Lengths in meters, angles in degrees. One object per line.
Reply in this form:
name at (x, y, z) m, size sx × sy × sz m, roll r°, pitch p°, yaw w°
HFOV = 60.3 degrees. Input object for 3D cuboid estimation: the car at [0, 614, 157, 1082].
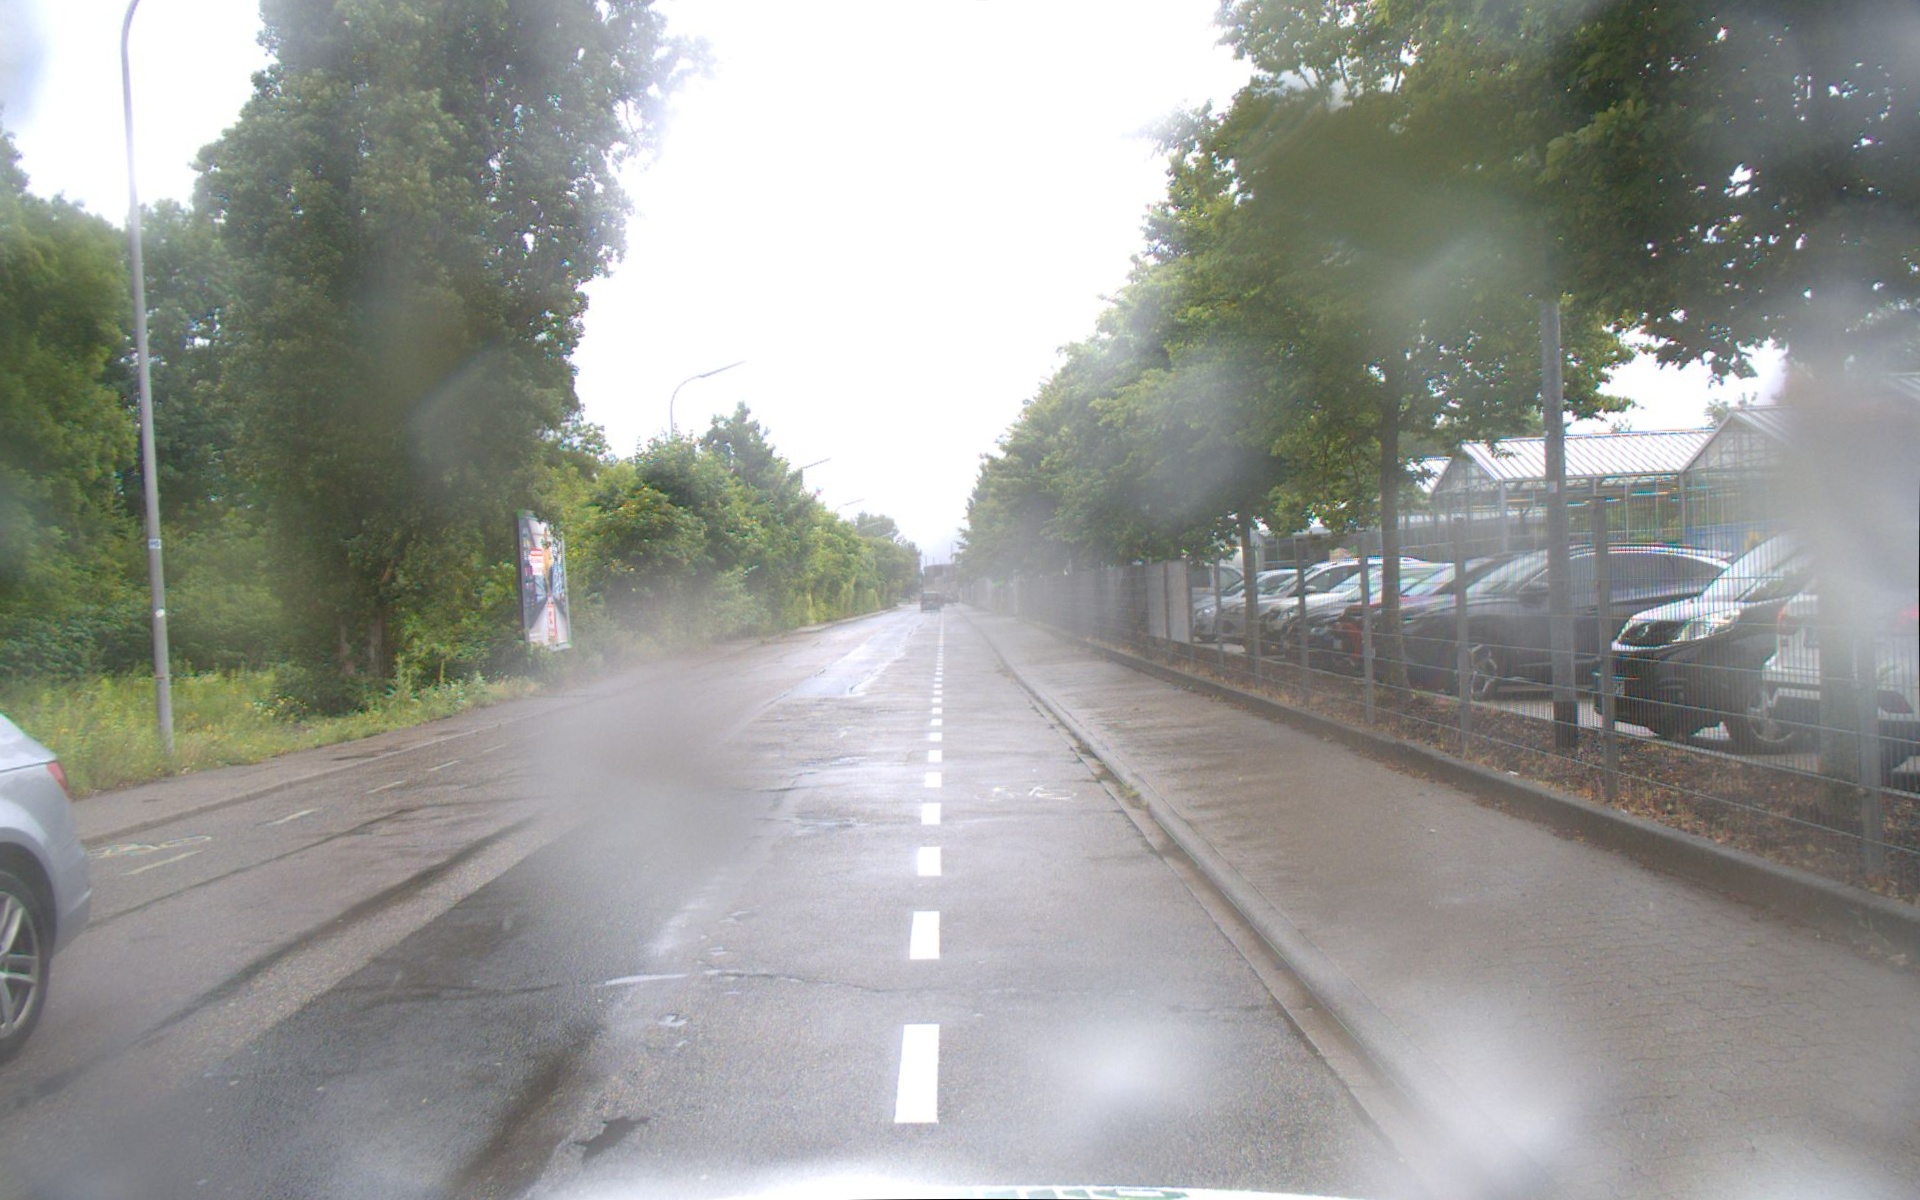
car at (-3.966, 0.891, 4.068) m, size 1.698 × 1.475 × 4.381 m, roll -6°, pitch 0°, yaw 0°

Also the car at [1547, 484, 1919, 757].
car at (6.947, 0.067, 12.771) m, size 4.130 × 1.825 × 1.821 m, roll -3°, pitch 1°, yaw -8°

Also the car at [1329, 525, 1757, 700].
car at (6.486, 0.113, 18.631) m, size 4.130 × 1.646 × 1.821 m, roll -3°, pitch 1°, yaw -8°

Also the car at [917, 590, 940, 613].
car at (-2.873, 0.173, 151.079) m, size 1.953 × 1.943 × 4.199 m, roll -4°, pitch 0°, yaw -1°

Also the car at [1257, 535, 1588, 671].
car at (6.556, 0.028, 23.646) m, size 4.130 × 1.646 × 1.821 m, roll -3°, pitch 1°, yaw -8°

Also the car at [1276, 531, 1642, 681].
car at (6.424, 0.059, 21.503) m, size 4.130 × 1.646 × 1.821 m, roll -3°, pitch 1°, yaw -8°

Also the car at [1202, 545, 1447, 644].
car at (6.898, -0.115, 31.508) m, size 4.130 × 1.616 × 1.821 m, roll -3°, pitch 1°, yaw -8°

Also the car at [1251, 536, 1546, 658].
car at (6.961, -0.060, 26.449) m, size 4.130 × 1.646 × 1.821 m, roll -3°, pitch 1°, yaw -8°

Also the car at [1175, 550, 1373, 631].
car at (7.200, -0.224, 38.181) m, size 4.125 × 1.616 × 1.823 m, roll -3°, pitch 1°, yaw -4°

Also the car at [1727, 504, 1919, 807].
car at (7.097, 0.178, 9.889) m, size 4.124 × 1.628 × 1.823 m, roll -3°, pitch 0°, yaw -2°

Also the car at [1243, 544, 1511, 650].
car at (7.244, -0.064, 28.927) m, size 4.130 × 1.560 × 1.821 m, roll -3°, pitch 1°, yaw -8°

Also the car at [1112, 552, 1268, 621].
car at (6.568, -0.395, 47.489) m, size 4.125 × 1.706 × 1.823 m, roll -3°, pitch 1°, yaw -4°
